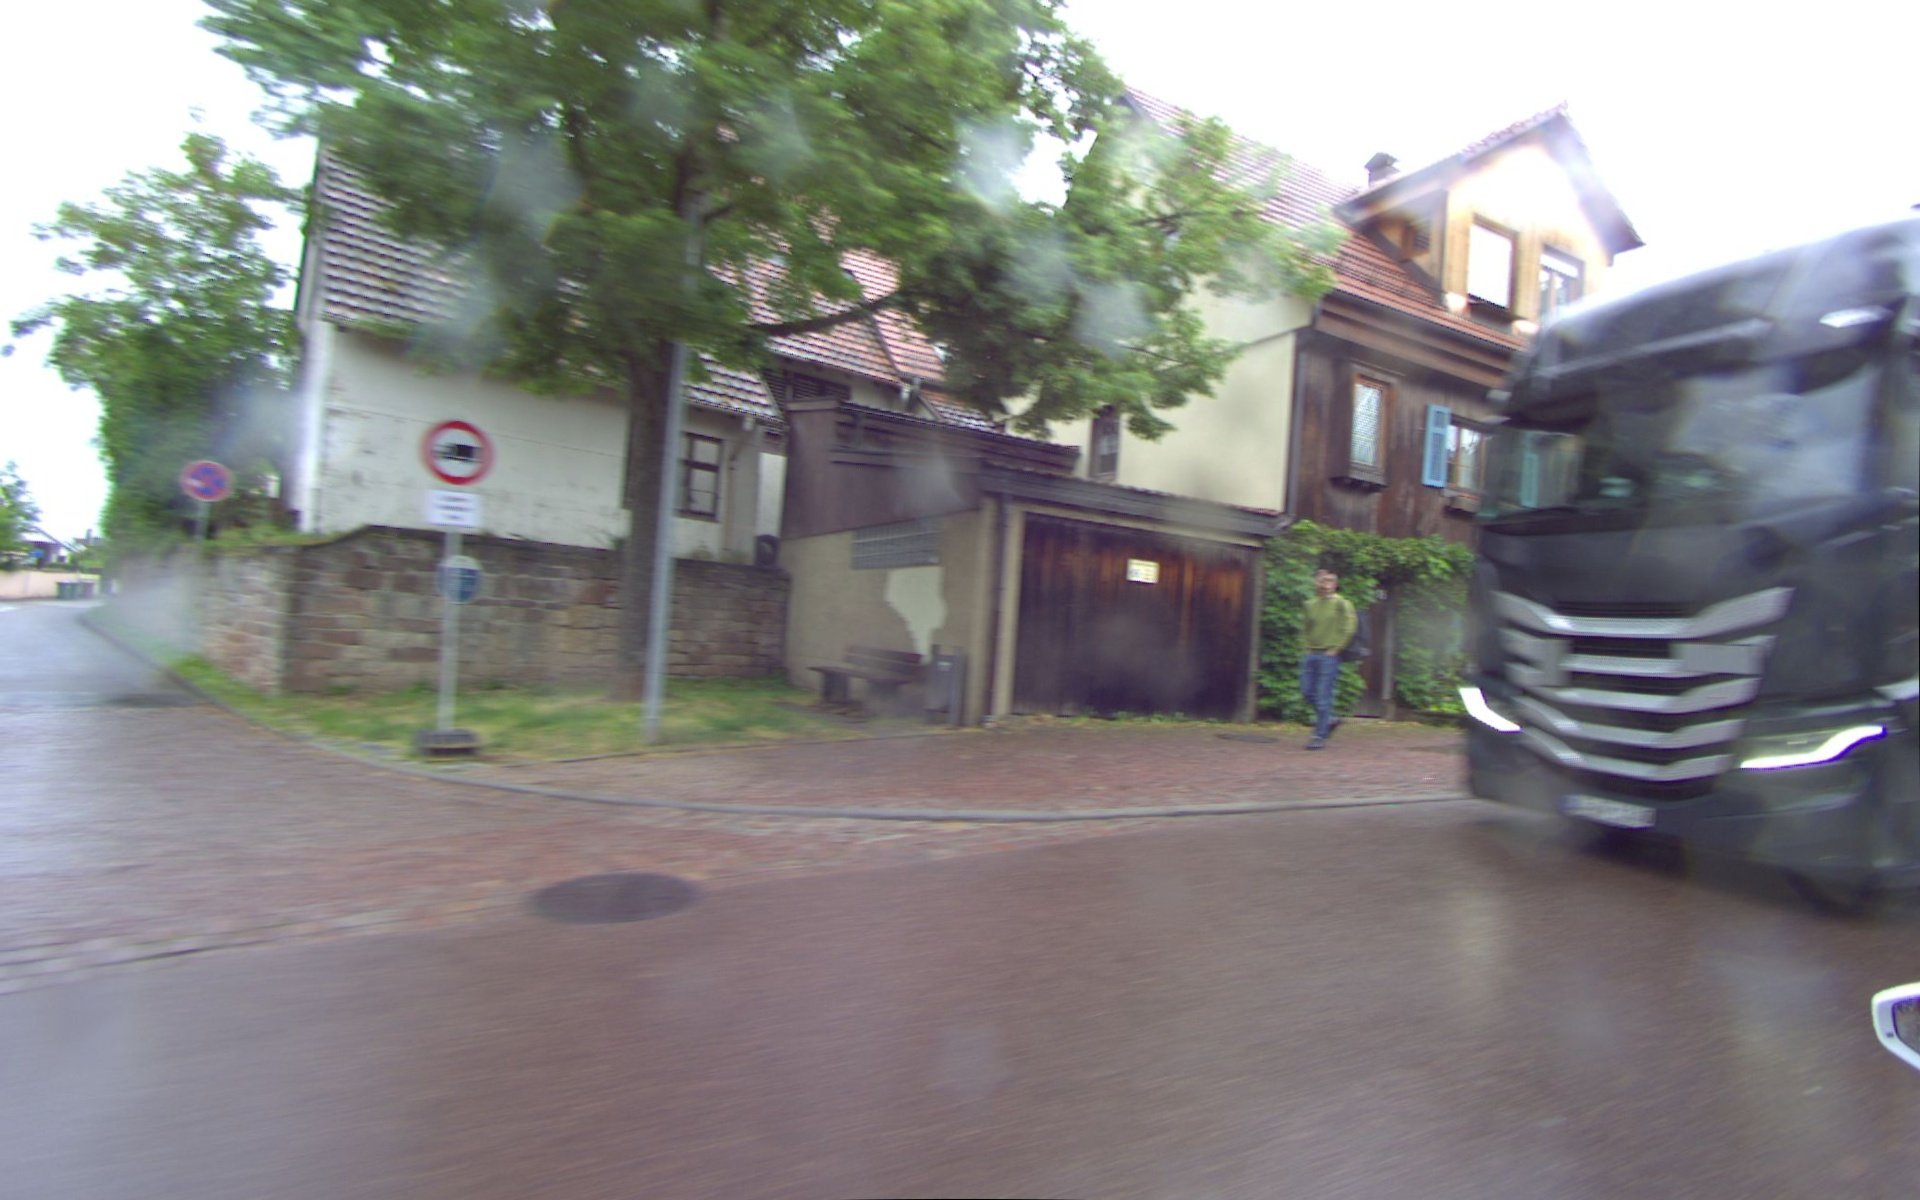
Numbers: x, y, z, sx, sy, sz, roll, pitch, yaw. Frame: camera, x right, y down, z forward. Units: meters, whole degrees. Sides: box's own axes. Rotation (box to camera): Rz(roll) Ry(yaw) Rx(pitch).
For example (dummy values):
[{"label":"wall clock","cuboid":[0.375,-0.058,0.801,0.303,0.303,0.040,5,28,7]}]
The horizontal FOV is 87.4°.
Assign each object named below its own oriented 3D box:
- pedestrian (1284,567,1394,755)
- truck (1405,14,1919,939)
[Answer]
[{"label":"pedestrian","cuboid":[4.052,0.618,10.719,0.784,1.893,0.912,2,0,40]},{"label":"truck","cuboid":[8.342,-0.425,7.738,9.830,4.222,2.832,2,0,-22]}]
